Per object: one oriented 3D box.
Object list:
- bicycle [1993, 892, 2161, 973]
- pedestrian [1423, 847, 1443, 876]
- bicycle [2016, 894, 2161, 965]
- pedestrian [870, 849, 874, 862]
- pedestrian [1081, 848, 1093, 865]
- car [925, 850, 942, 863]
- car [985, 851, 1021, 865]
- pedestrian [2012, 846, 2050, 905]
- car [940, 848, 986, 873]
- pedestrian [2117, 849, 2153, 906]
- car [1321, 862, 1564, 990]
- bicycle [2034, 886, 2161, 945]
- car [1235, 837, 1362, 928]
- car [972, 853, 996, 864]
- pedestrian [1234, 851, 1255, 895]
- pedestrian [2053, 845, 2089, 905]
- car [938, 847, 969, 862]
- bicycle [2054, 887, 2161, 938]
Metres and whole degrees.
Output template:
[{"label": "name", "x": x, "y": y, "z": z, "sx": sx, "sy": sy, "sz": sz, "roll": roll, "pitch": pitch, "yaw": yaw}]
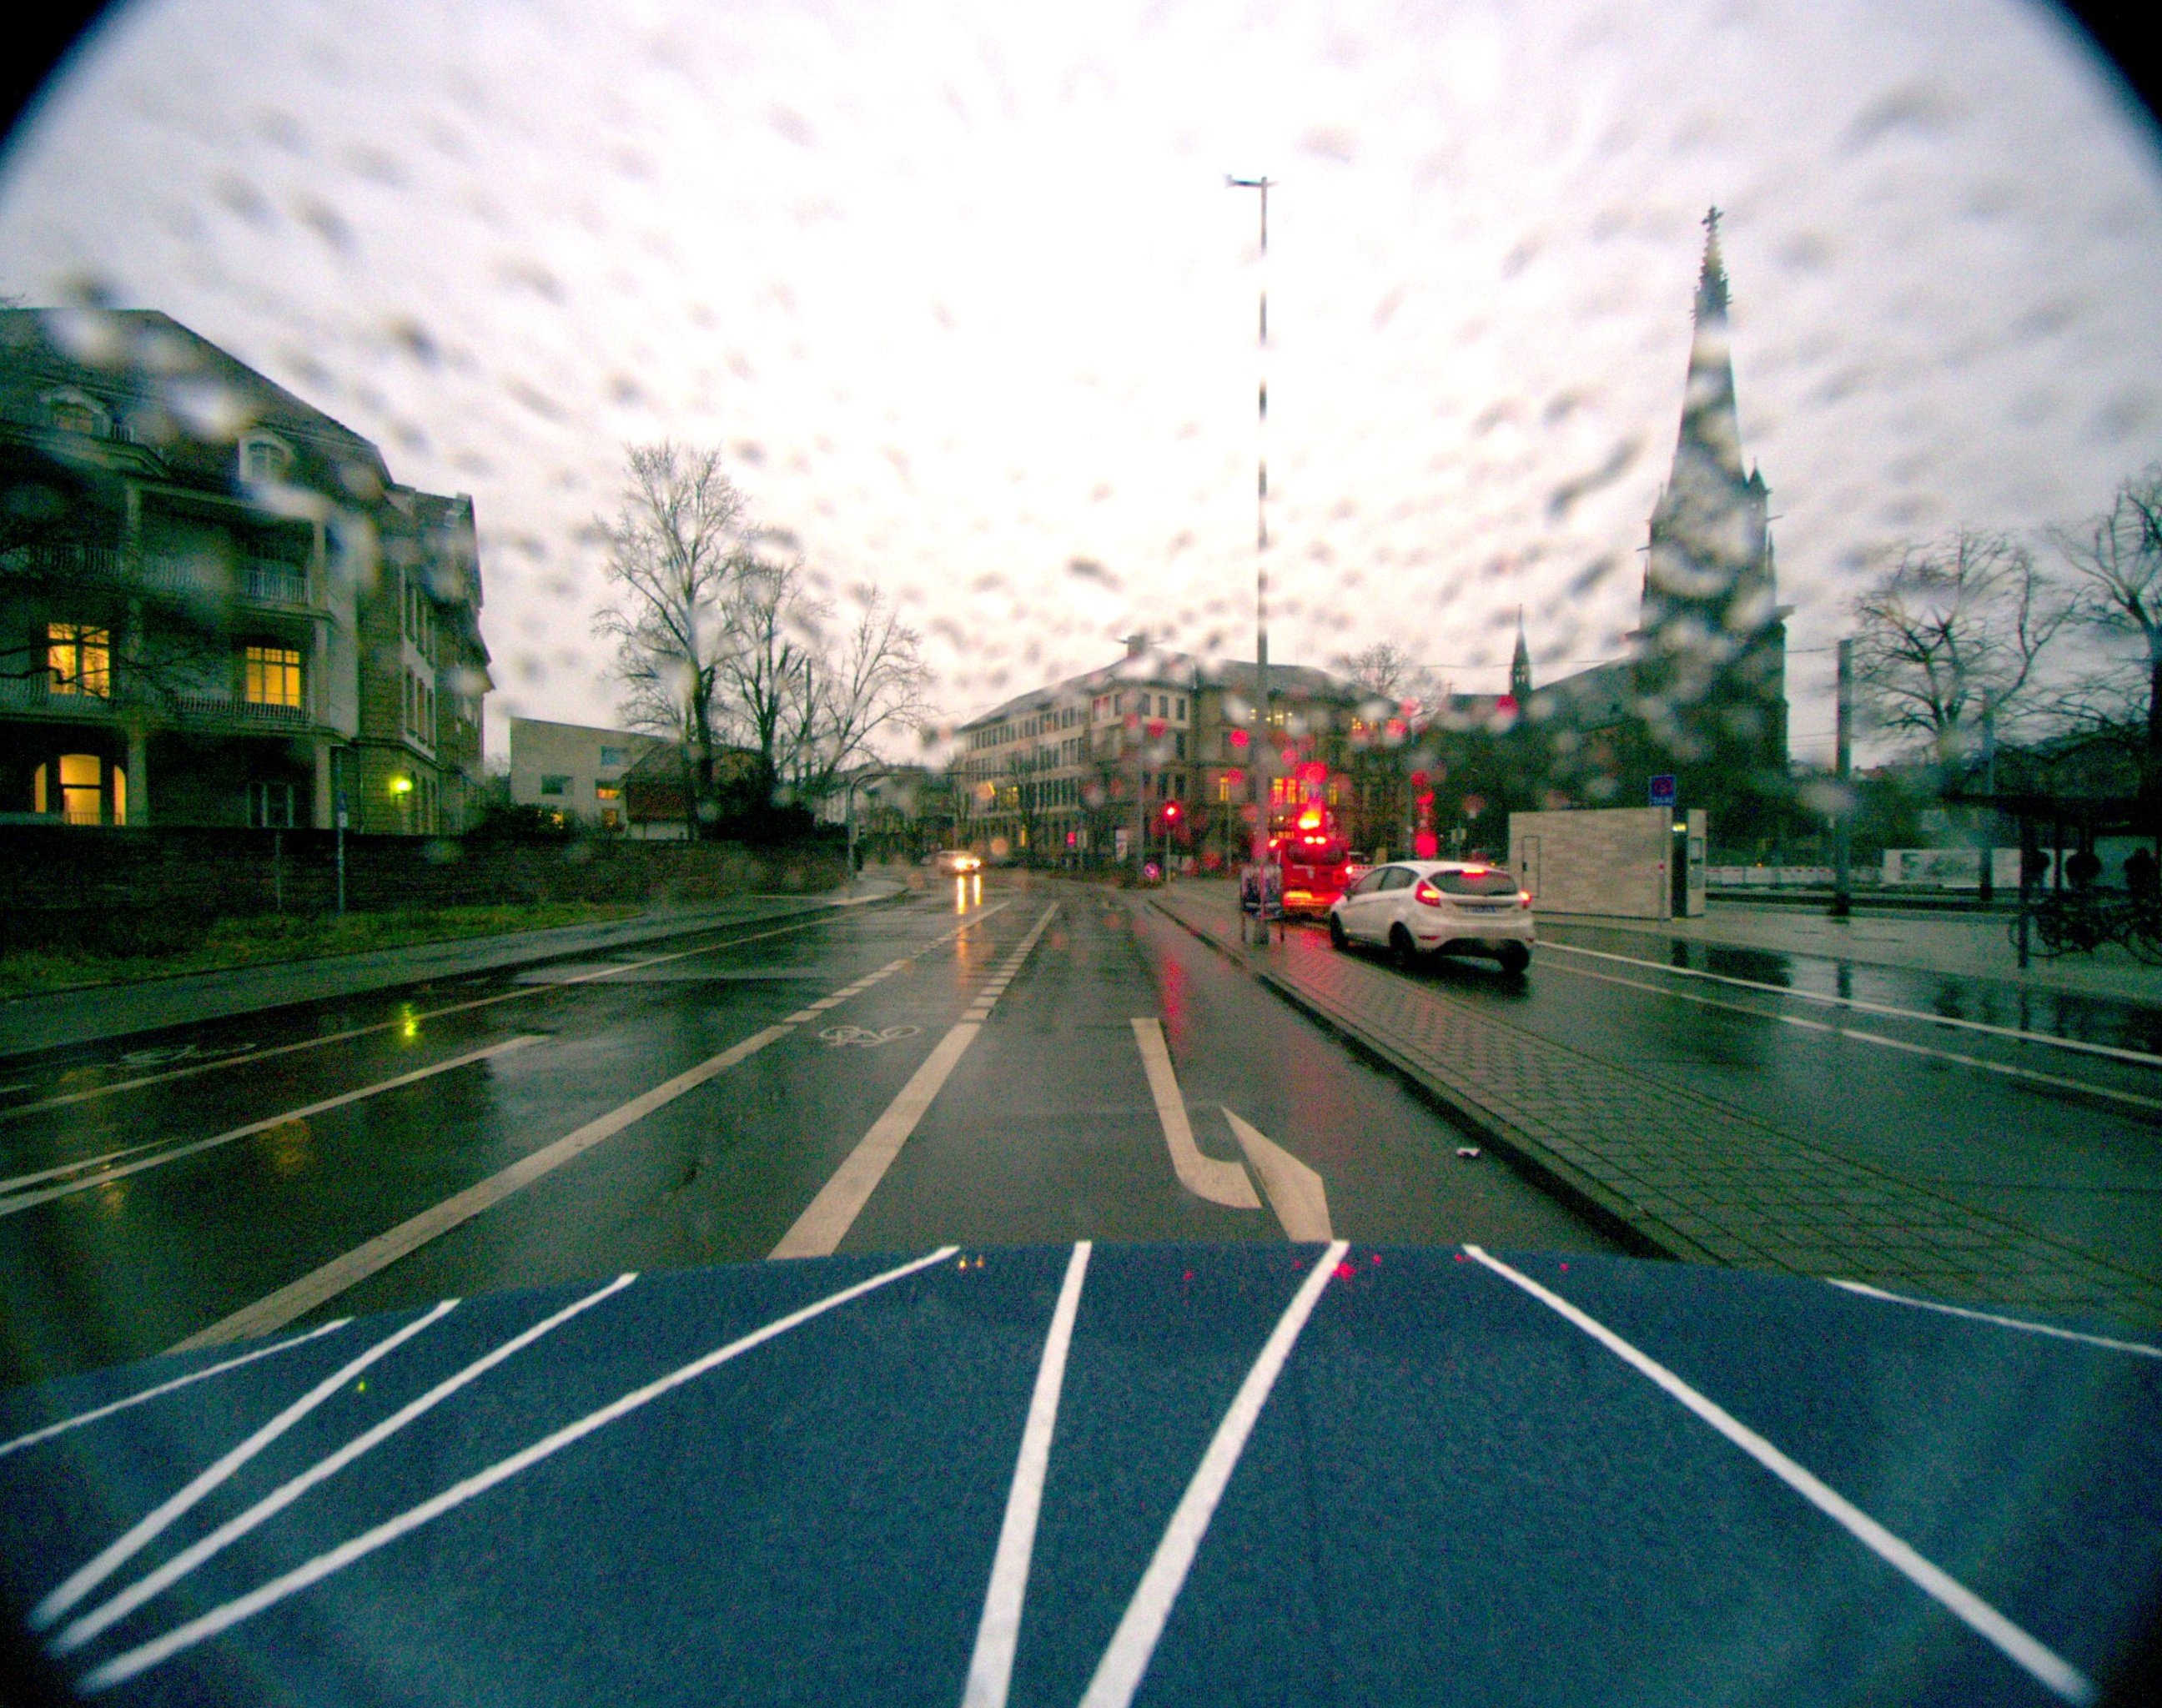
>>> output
[{"label": "bicycle", "x": 15.490, "y": 1.177, "z": 11.606, "sx": 0.475, "sy": 1.064, "sz": 1.921, "roll": -2, "pitch": 2, "yaw": -30}, {"label": "pedestrian", "x": 22.788, "y": 0.484, "z": 49.219, "sx": 0.675, "sy": 1.806, "sz": 0.895, "roll": 0, "pitch": 1, "yaw": -38}, {"label": "bicycle", "x": 16.608, "y": 1.210, "z": 12.211, "sx": 0.475, "sy": 0.980, "sz": 1.921, "roll": -2, "pitch": 2, "yaw": -30}, {"label": "pedestrian", "x": -33.356, "y": 0.256, "z": 121.130, "sx": 0.548, "sy": 2.002, "sz": 0.473, "roll": 0, "pitch": 1, "yaw": -35}, {"label": "pedestrian", "x": 0.634, "y": 0.270, "z": 81.740, "sx": 0.829, "sy": 1.714, "sz": 0.926, "roll": 0, "pitch": 0, "yaw": -37}, {"label": "car", "x": -20.741, "y": 0.369, "z": 106.842, "sx": 2.000, "sy": 1.660, "sz": 3.997, "roll": -2, "pitch": 1, "yaw": -7}, {"label": "car", "x": -9.285, "y": 0.478, "z": 90.532, "sx": 1.797, "sy": 1.541, "sz": 4.007, "roll": -1, "pitch": 1, "yaw": 45}, {"label": "pedestrian", "x": 29.583, "y": 0.658, "z": 23.666, "sx": 0.828, "sy": 1.785, "sz": 0.668, "roll": -3, "pitch": 2, "yaw": -42}, {"label": "car", "x": -10.451, "y": 0.565, "z": 66.904, "sx": 2.003, "sy": 2.002, "sz": 4.878, "roll": -3, "pitch": 1, "yaw": -35}, {"label": "pedestrian", "x": 31.040, "y": 0.688, "z": 22.381, "sx": 0.541, "sy": 1.642, "sz": 0.562, "roll": -3, "pitch": 2, "yaw": -41}, {"label": "car", "x": 5.054, "y": 0.906, "z": 11.246, "sx": 1.744, "sy": 1.440, "sz": 3.713, "roll": 2, "pitch": 1, "yaw": 0}, {"label": "bicycle", "x": 19.683, "y": 1.165, "z": 14.422, "sx": 0.475, "sy": 0.980, "sz": 1.921, "roll": -2, "pitch": 2, "yaw": -30}, {"label": "car", "x": 5.501, "y": 0.656, "z": 19.883, "sx": 1.929, "sy": 2.058, "sz": 4.643, "roll": 1, "pitch": 0, "yaw": 0}, {"label": "car", "x": -12.140, "y": 0.572, "z": 95.303, "sx": 1.706, "sy": 1.298, "sz": 3.647, "roll": -2, "pitch": 1, "yaw": 16}, {"label": "pedestrian", "x": 6.572, "y": 0.751, "z": 30.515, "sx": 0.797, "sy": 1.713, "sz": 0.675, "roll": 1, "pitch": 1, "yaw": 13}, {"label": "pedestrian", "x": 30.227, "y": 0.639, "z": 23.209, "sx": 0.673, "sy": 1.785, "sz": 0.626, "roll": -3, "pitch": 2, "yaw": -41}, {"label": "car", "x": -17.001, "y": 0.073, "z": 101.468, "sx": 2.043, "sy": 1.889, "sz": 4.007, "roll": -2, "pitch": 1, "yaw": 28}, {"label": "bicycle", "x": 20.839, "y": 1.157, "z": 15.012, "sx": 0.475, "sy": 0.905, "sz": 1.921, "roll": -2, "pitch": 2, "yaw": -30}]
